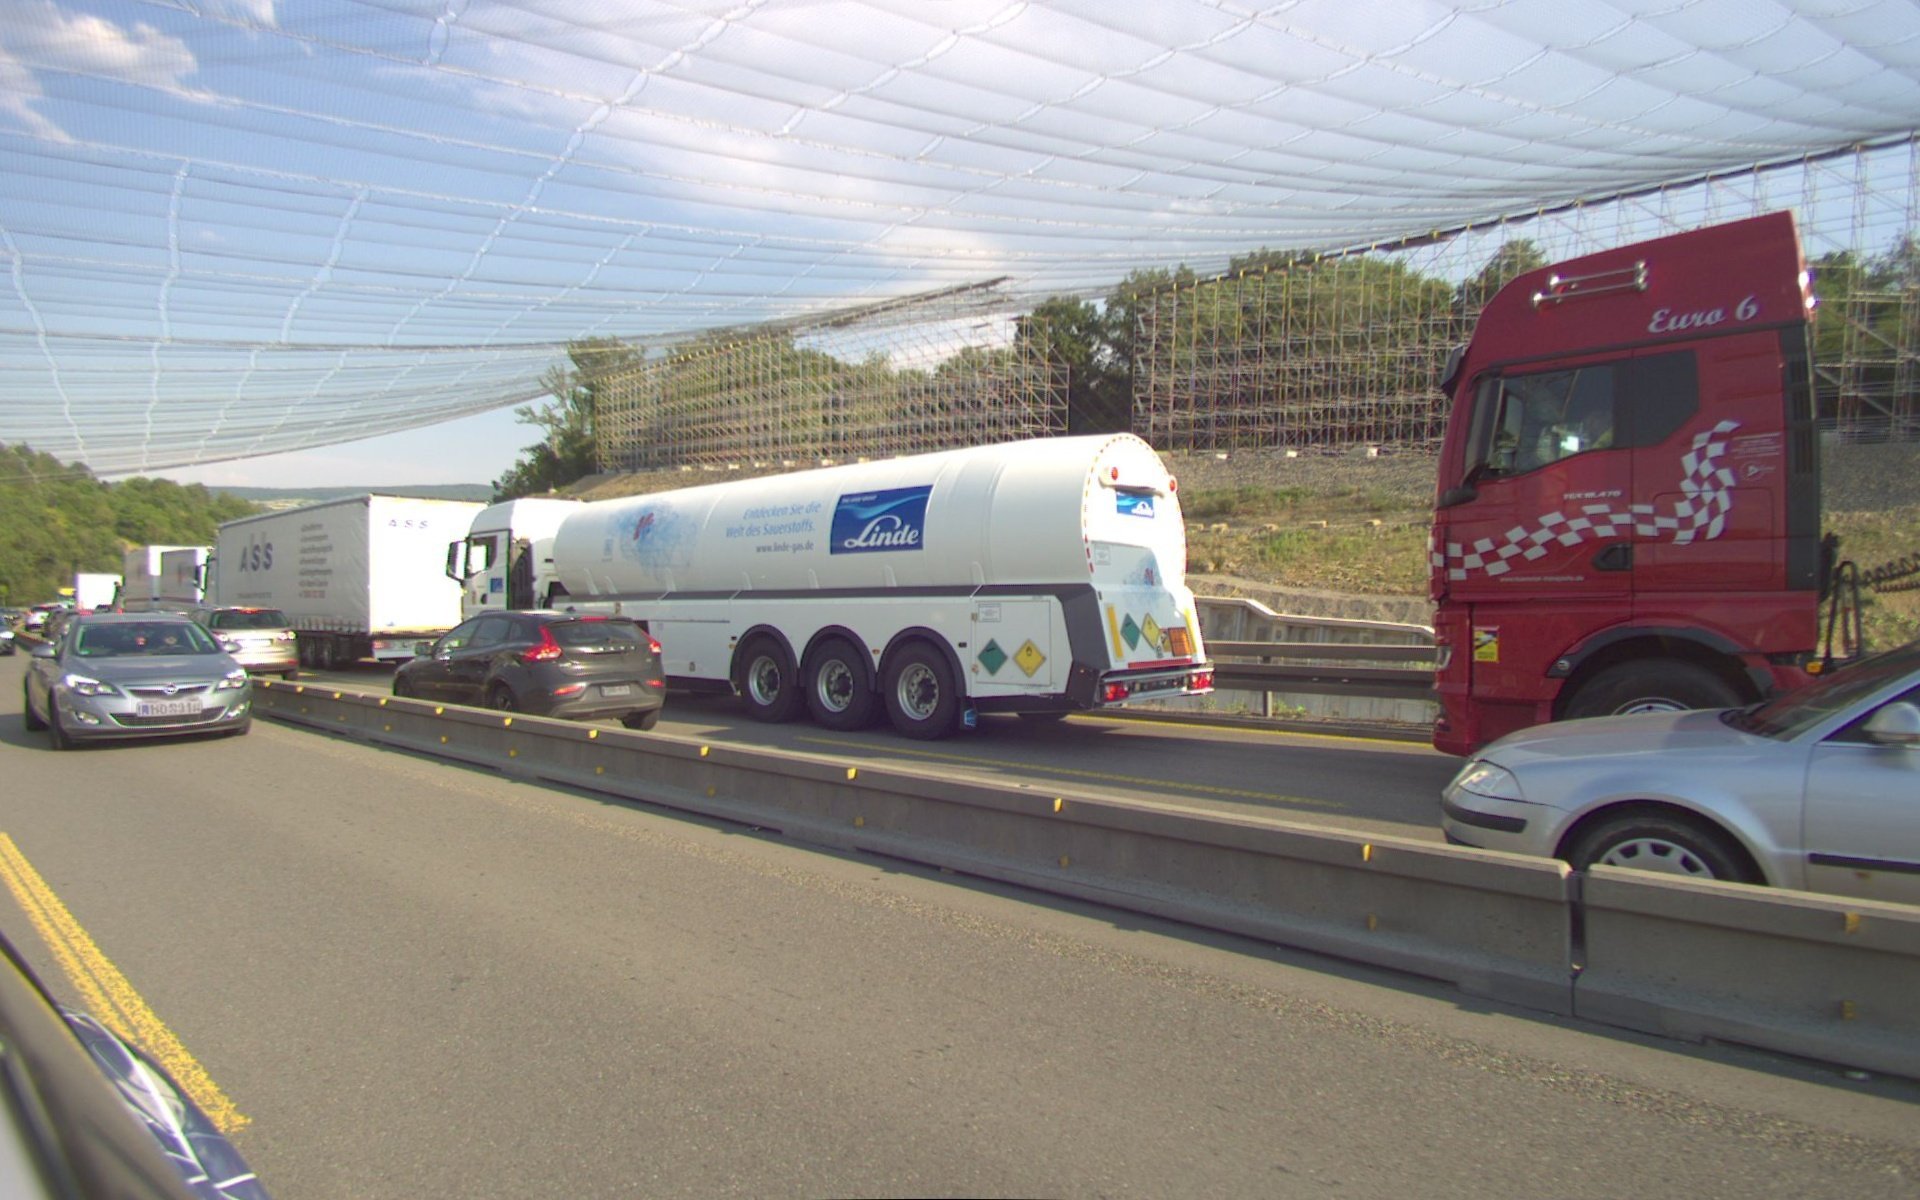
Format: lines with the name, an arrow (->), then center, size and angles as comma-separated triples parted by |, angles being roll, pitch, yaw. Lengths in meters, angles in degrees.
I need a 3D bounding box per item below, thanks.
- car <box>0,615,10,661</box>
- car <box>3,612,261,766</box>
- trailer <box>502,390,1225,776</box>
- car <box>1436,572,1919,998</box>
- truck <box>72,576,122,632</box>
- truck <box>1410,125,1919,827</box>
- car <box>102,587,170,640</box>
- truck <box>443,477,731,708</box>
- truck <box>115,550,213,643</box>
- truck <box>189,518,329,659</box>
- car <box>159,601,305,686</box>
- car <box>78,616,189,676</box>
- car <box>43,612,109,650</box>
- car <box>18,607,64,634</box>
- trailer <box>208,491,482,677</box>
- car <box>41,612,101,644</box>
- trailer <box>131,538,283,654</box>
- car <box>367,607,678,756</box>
car -> -31.732, 1.214, 32.488 | 1.740, 1.394, 3.825 | 0, 0, -45
car -> -9.962, 0.896, 12.047 | 4.352, 1.484, 1.737 | 0, 0, 42
trailer -> -2.458, -0.119, 13.792 | 12.050, 3.387, 2.282 | 0, 0, 42
car -> 4.362, 0.616, 3.519 | 4.654, 1.437, 1.611 | 0, 0, 40
truck -> -70.986, 0.360, 83.098 | 2.688, 4.259, 14.185 | 0, 0, -42
truck -> 6.117, -0.679, 6.312 | 5.612, 3.813, 2.408 | 0, 0, 40
car -> -45.046, 0.688, 55.261 | 2.216, 2.733, 7.086 | 0, 0, -45
truck -> -6.657, -0.101, 17.686 | 5.616, 3.395, 2.388 | 0, 0, 42
truck -> -36.470, -0.125, 46.255 | 7.207, 3.939, 2.601 | 0, 0, 44
truck -> -22.177, -0.324, 31.904 | 5.616, 4.076, 2.447 | 0, 0, 42
car -> -15.244, 0.825, 21.111 | 3.942, 1.599, 1.732 | 0, 0, 43
car -> -21.645, 1.141, 26.440 | 4.245, 1.408, 1.774 | 0, 0, 44
car -> -35.311, 1.198, 40.397 | 3.900, 1.386, 1.590 | 0, 0, 42
car -> -56.395, 1.260, 62.094 | 4.367, 1.580, 1.788 | 0, 0, 44
trailer -> -17.102, -0.311, 27.287 | 14.095, 3.993, 2.402 | 0, 0, 42
car -> -43.507, 1.321, 49.513 | 4.664, 1.461, 1.758 | 0, 0, 43
trailer -> -30.670, -0.093, 40.854 | 13.334, 4.046, 2.640 | 0, 0, 43
car -> -5.273, 0.812, 11.898 | 4.385, 1.437, 1.611 | 0, 0, 41
